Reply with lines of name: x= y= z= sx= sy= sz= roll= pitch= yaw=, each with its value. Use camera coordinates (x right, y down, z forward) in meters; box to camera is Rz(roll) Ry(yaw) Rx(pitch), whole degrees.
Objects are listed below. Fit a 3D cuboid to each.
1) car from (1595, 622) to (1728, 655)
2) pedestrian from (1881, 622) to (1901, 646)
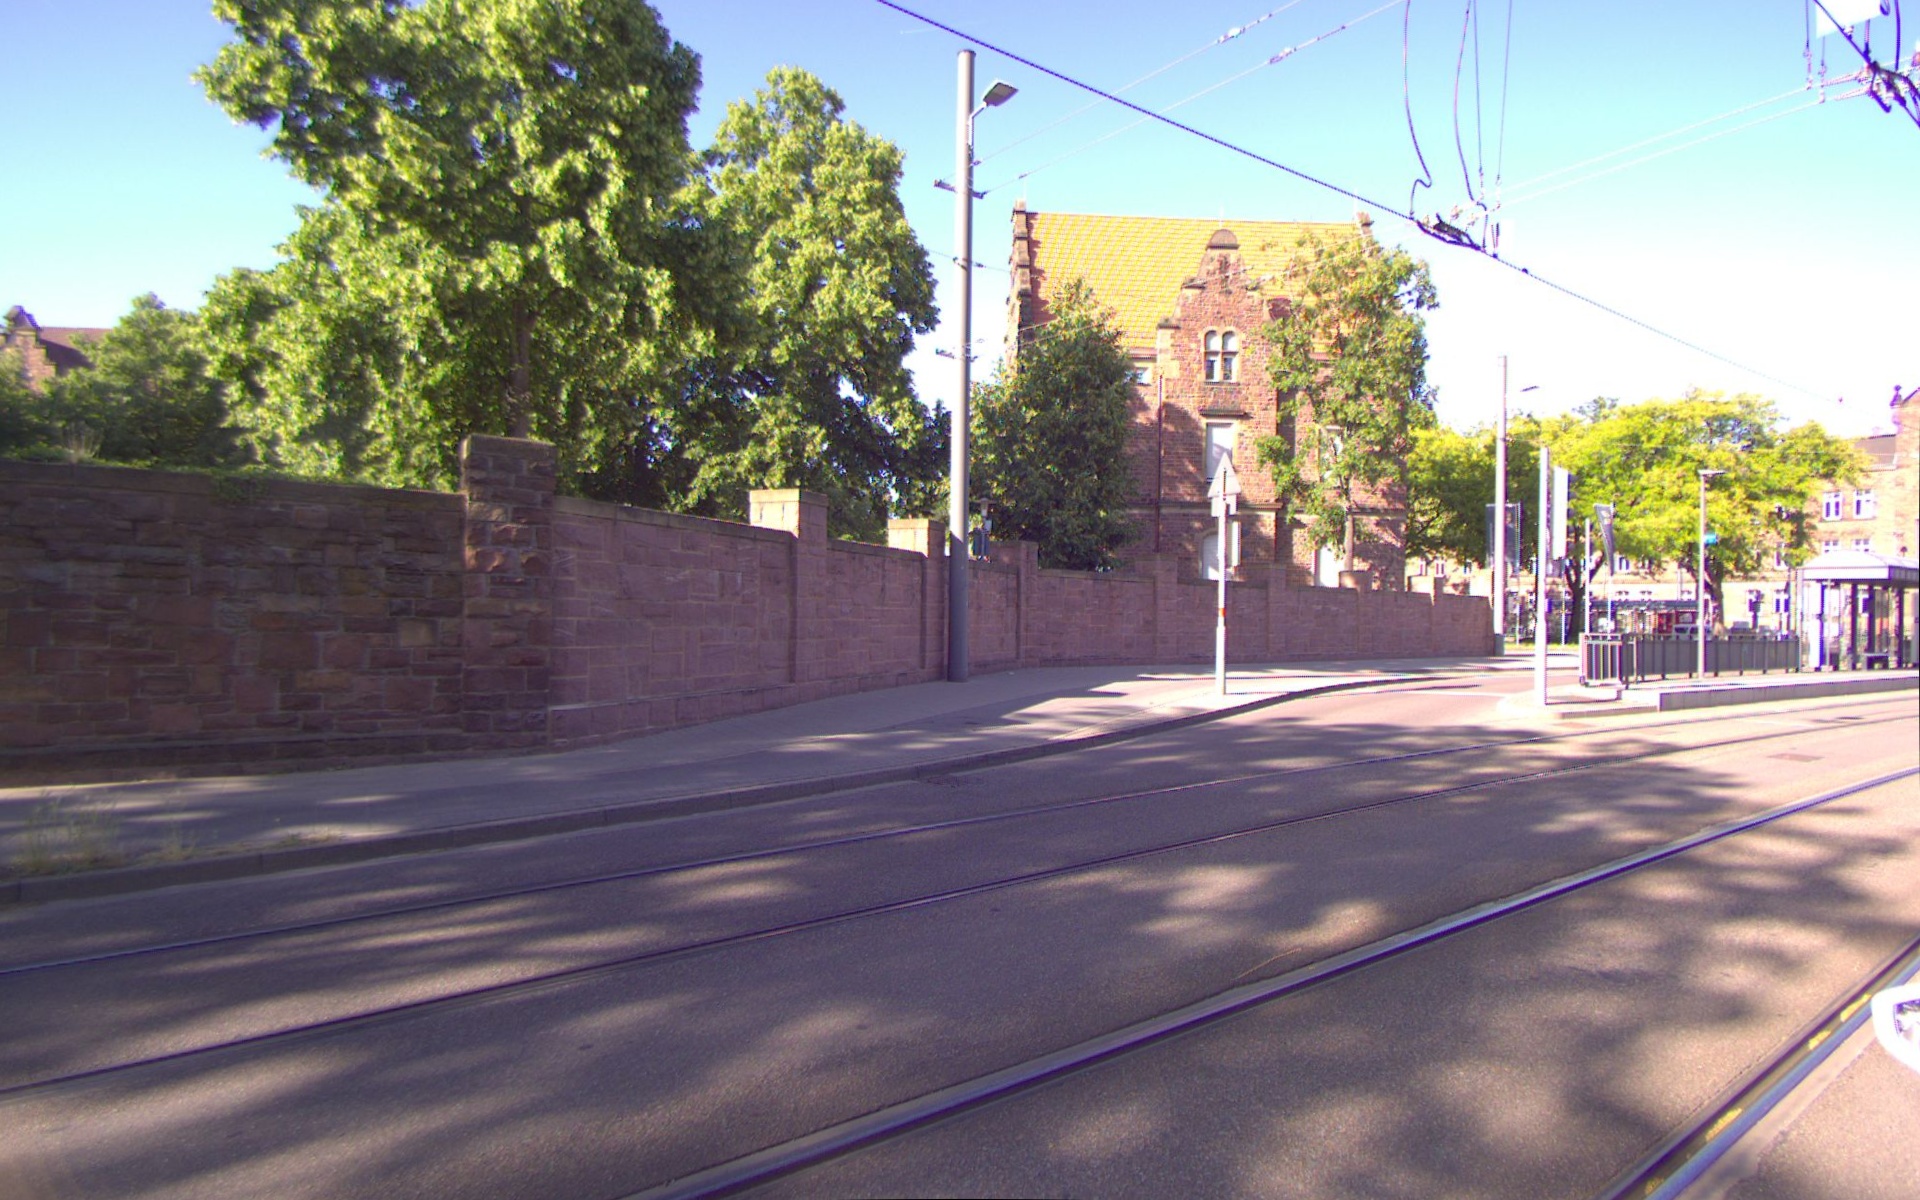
car: x=47.908 y=2.595 z=68.802 sx=2.957 sy=1.946 sz=6.915 roll=1 pitch=-1 yaw=-30
pedestrian: x=63.857 y=2.343 z=68.892 sx=0.798 sy=1.609 sz=0.924 roll=2 pitch=0 yaw=-40
